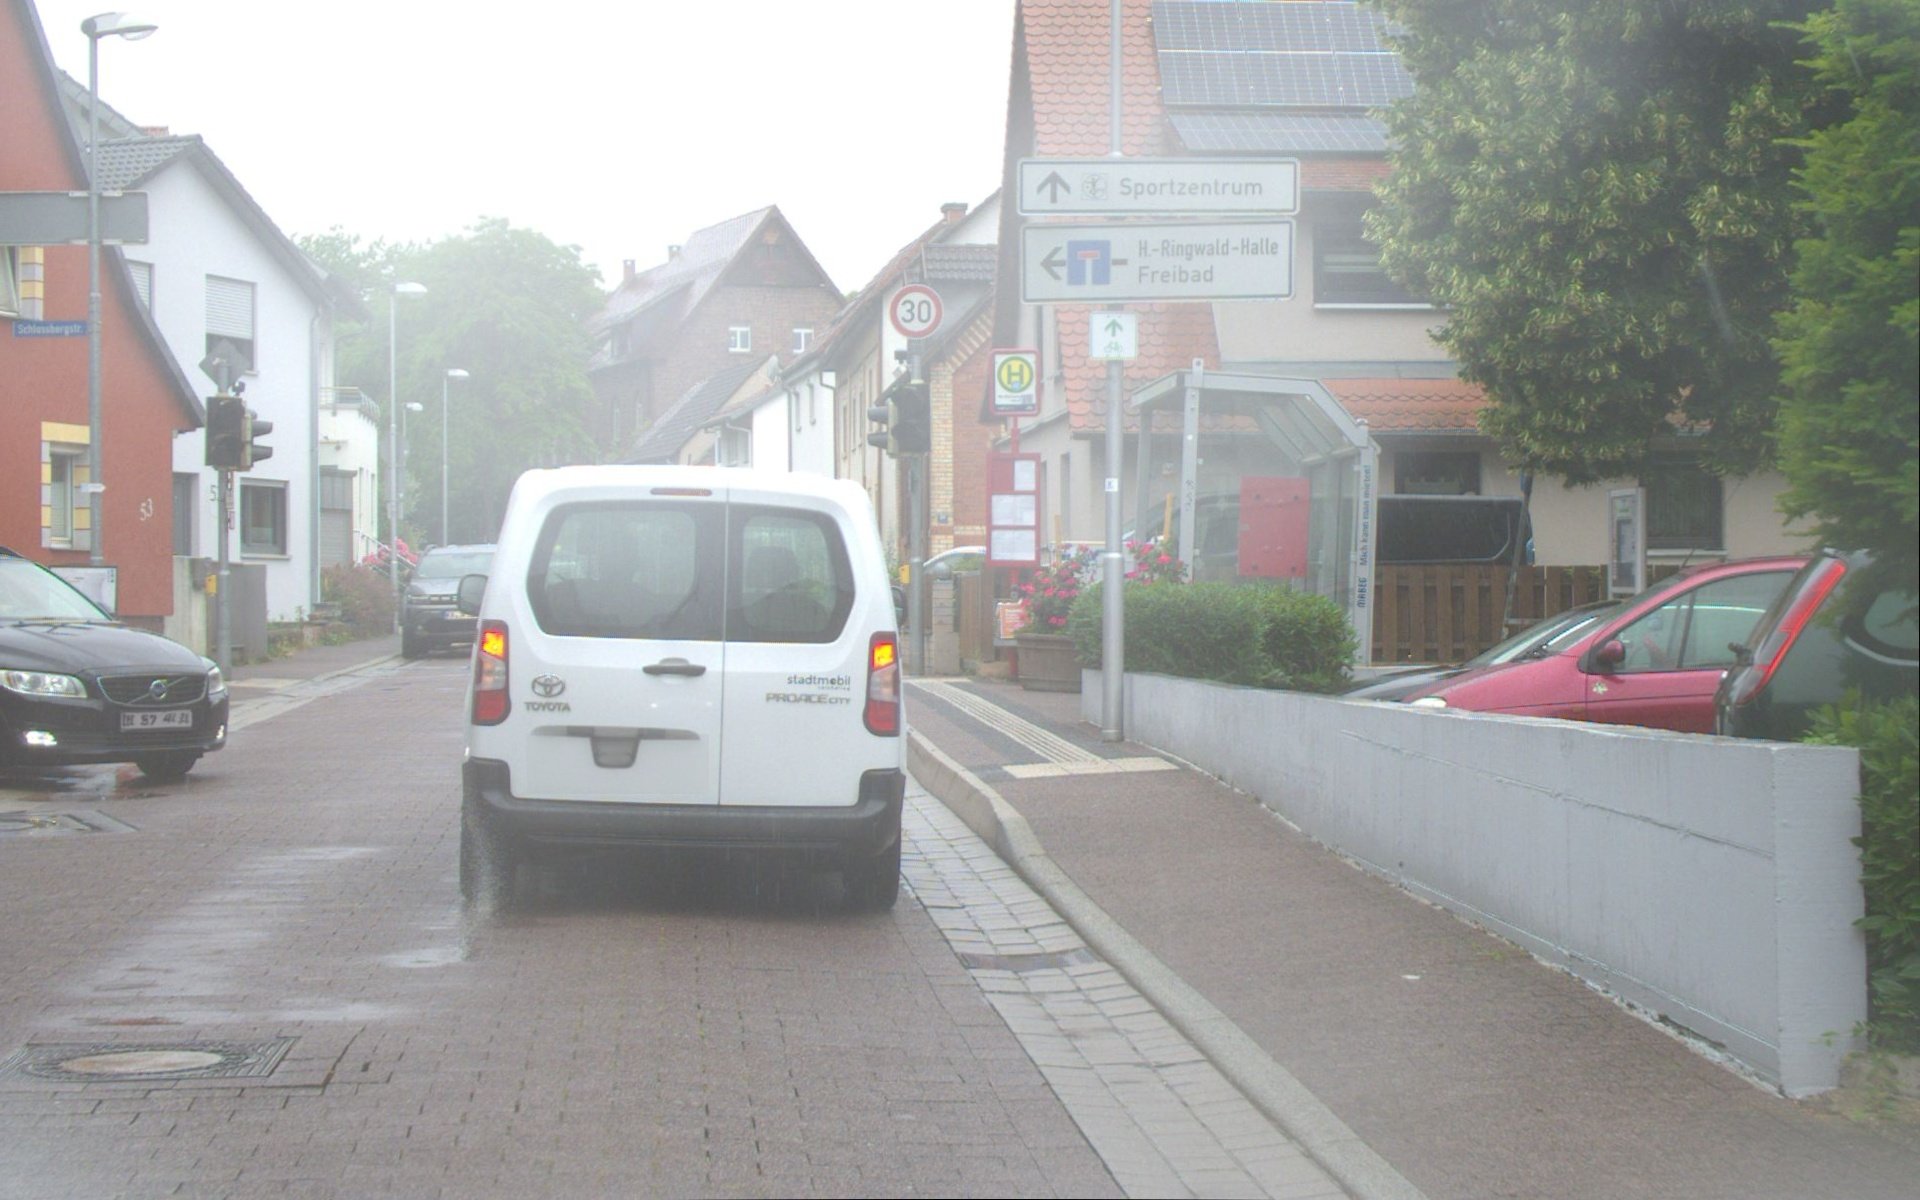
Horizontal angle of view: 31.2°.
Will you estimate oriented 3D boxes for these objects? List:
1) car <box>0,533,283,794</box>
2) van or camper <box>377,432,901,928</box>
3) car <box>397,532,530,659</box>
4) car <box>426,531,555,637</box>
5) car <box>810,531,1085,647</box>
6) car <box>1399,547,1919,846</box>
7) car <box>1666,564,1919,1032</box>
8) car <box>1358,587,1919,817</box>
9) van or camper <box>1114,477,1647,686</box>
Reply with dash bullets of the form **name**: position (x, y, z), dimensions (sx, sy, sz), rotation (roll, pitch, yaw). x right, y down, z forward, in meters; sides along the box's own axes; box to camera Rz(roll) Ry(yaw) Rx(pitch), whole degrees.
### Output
- **car**: position (-6.412, 0.312, 21.534), dimensions (4.310, 1.472, 1.846), rotation (2, 0, 38)
- **van or camper**: position (-1.393, 0.295, 15.187), dimensions (1.943, 1.845, 4.001), rotation (2, 0, -5)
- **car**: position (-7.346, -0.107, 51.147), dimensions (1.812, 1.773, 4.018), rotation (-1, 1, -6)
- **car**: position (-7.802, -0.252, 57.455), dimensions (1.748, 1.631, 4.419), rotation (-2, 0, -3)
- **car**: position (-0.248, -0.192, 53.995), dimensions (1.871, 1.584, 4.619), rotation (1, 3, -37)
- **car**: position (4.565, 0.503, 19.388), dimensions (4.070, 1.584, 1.857), rotation (0, 1, 10)
- **car**: position (4.527, 0.630, 11.444), dimensions (4.230, 1.475, 1.694), rotation (0, 1, 11)
- **car**: position (4.575, 0.625, 21.916), dimensions (3.952, 1.374, 1.751), rotation (0, 1, 3)
- **van or camper**: position (4.275, -0.188, 35.335), dimensions (5.067, 1.916, 1.876), rotation (2, 0, -8)
